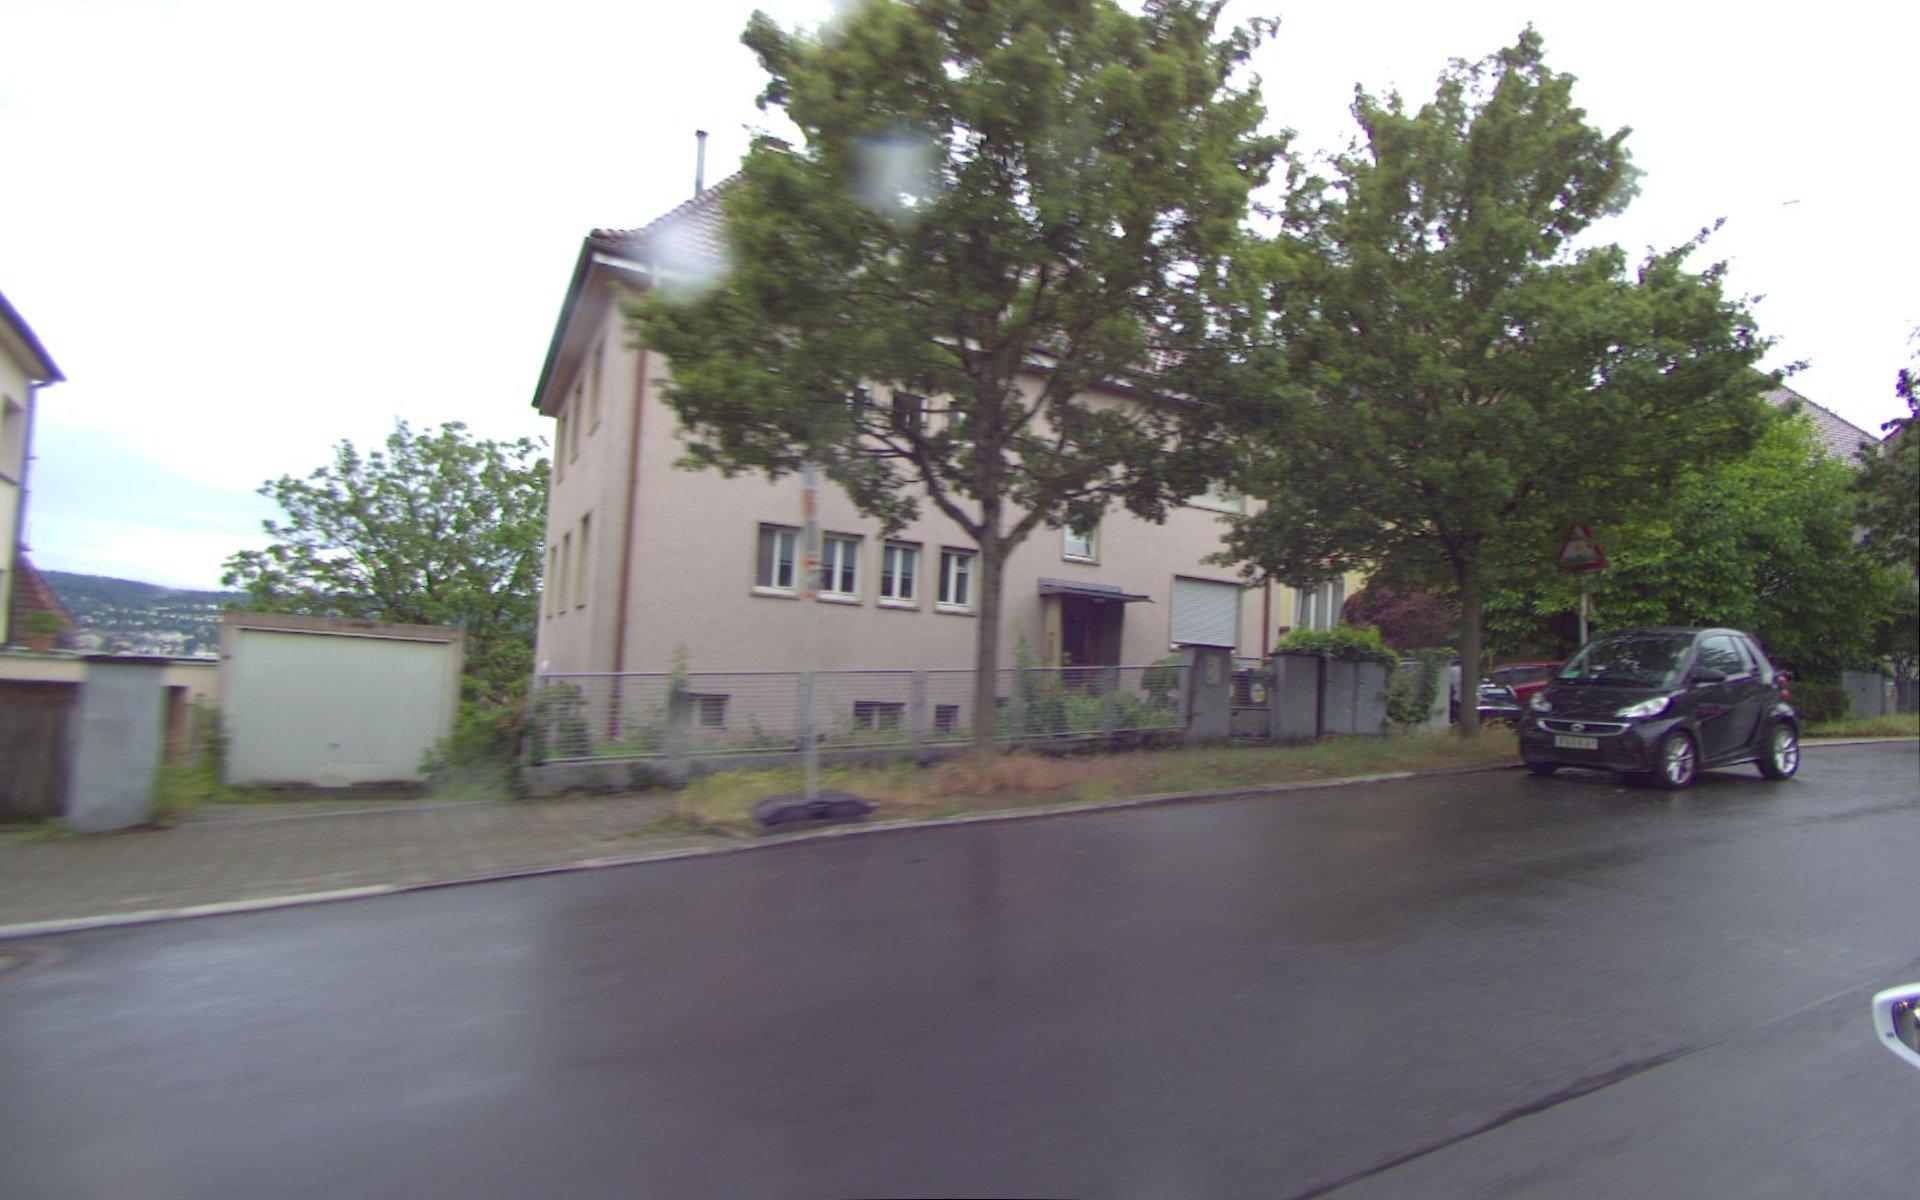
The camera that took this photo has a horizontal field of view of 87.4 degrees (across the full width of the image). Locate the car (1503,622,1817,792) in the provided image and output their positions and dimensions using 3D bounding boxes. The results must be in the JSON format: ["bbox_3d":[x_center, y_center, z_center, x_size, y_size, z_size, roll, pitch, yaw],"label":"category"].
[{"bbox_3d":[7.370,1.037,10.576,2.998,1.555,1.512,2,-2,-28],"label":"car"}]

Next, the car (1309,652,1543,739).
[{"bbox_3d":[8.972,1.954,19.717,1.802,1.377,3.915,2,-10,-22],"label":"car"}]

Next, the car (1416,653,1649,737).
[{"bbox_3d":[11.800,2.058,21.021,1.753,1.411,3.915,2,-10,-22],"label":"car"}]
